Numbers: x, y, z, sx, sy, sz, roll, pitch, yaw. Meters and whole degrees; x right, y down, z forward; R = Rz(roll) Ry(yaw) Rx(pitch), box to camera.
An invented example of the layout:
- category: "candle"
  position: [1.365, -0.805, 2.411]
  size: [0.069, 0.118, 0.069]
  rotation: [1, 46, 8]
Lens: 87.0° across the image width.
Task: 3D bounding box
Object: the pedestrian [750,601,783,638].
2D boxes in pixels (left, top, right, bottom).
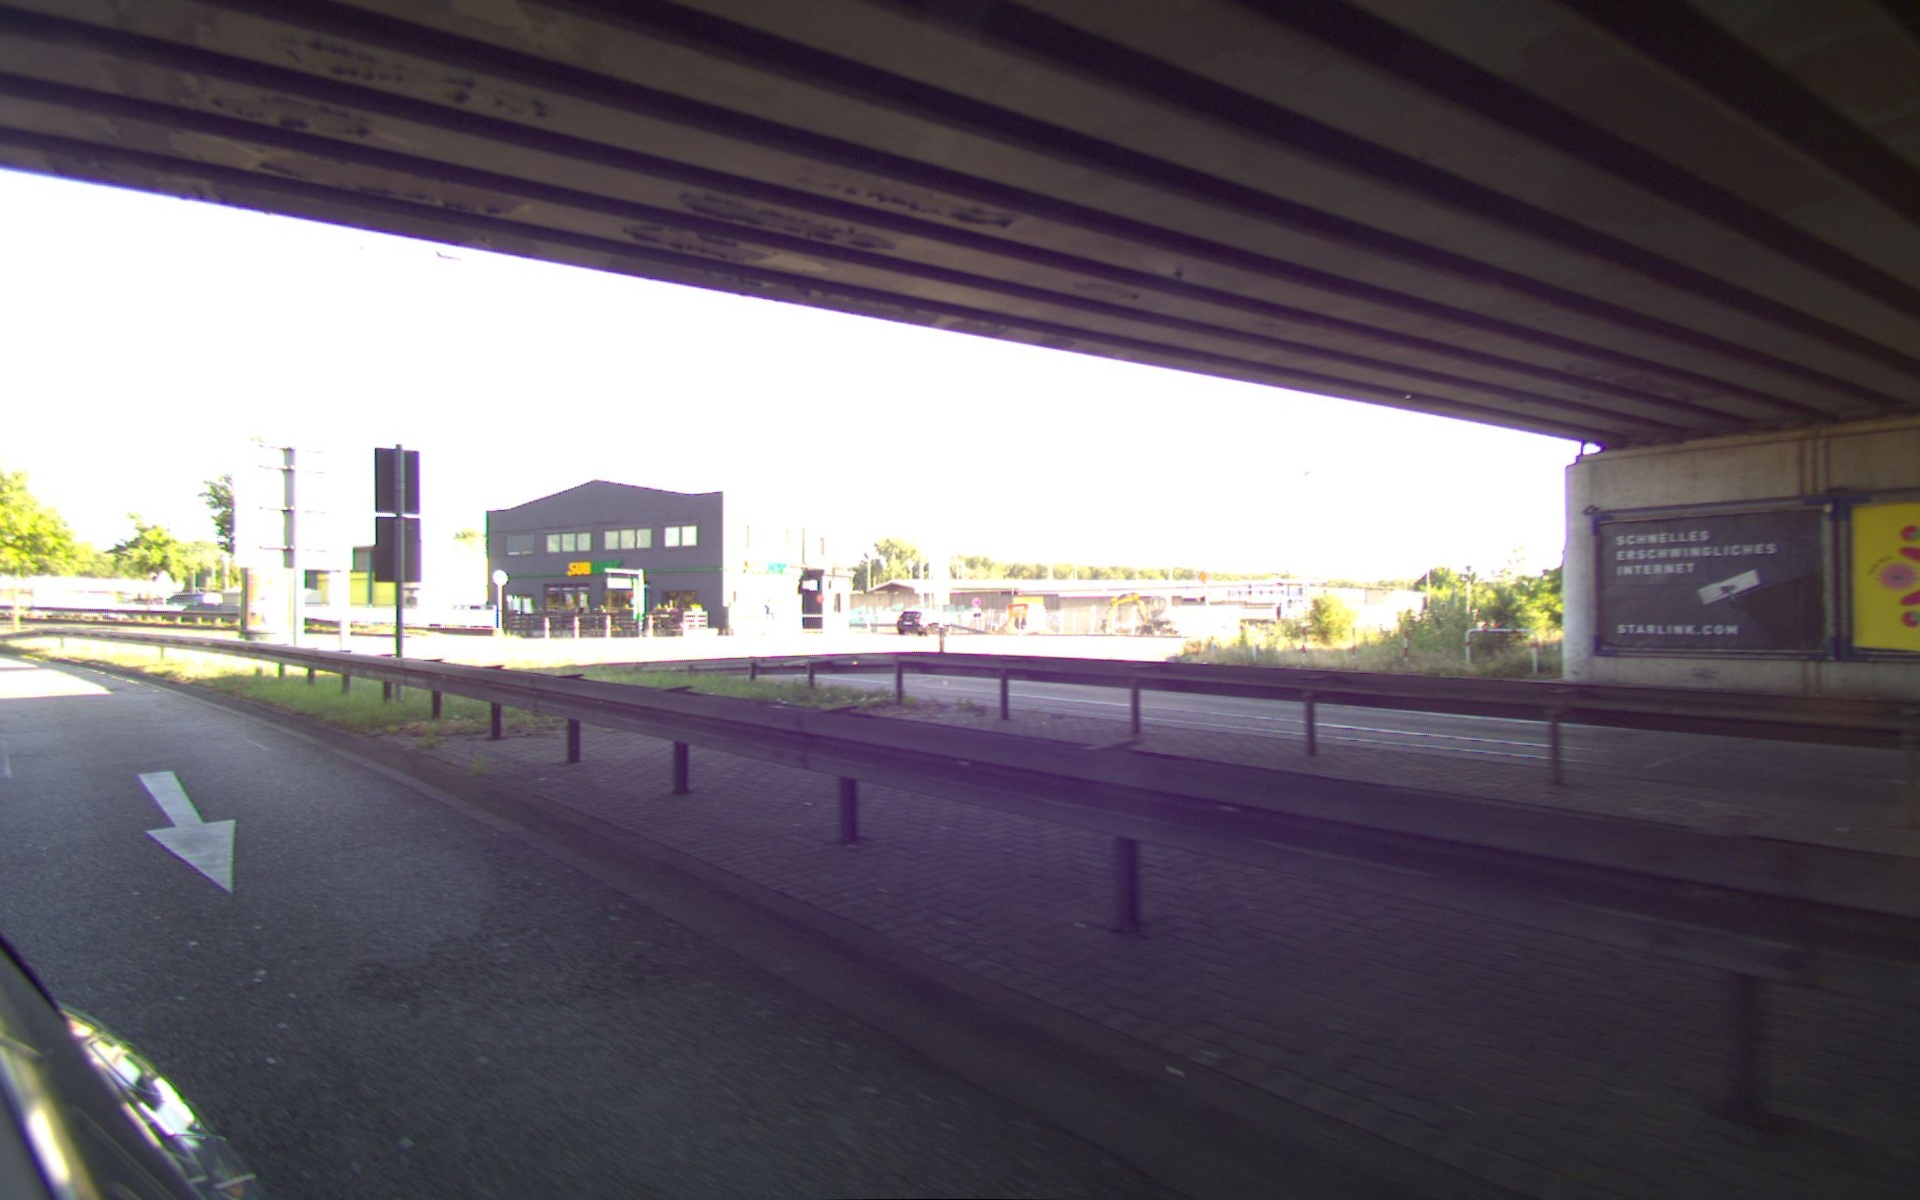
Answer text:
- category: "pedestrian"
  position: [-9.912, 0.991, 51.919]
  size: [1.257, 1.849, 1.086]
  rotation: [-1, 0, -44]

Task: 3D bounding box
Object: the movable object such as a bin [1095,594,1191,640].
- category: "movable object such as a bin"
  position: [13.568, 1.273, 75.263]
  size: [6.597, 3.241, 2.424]
  rotation: [-1, 0, 28]
